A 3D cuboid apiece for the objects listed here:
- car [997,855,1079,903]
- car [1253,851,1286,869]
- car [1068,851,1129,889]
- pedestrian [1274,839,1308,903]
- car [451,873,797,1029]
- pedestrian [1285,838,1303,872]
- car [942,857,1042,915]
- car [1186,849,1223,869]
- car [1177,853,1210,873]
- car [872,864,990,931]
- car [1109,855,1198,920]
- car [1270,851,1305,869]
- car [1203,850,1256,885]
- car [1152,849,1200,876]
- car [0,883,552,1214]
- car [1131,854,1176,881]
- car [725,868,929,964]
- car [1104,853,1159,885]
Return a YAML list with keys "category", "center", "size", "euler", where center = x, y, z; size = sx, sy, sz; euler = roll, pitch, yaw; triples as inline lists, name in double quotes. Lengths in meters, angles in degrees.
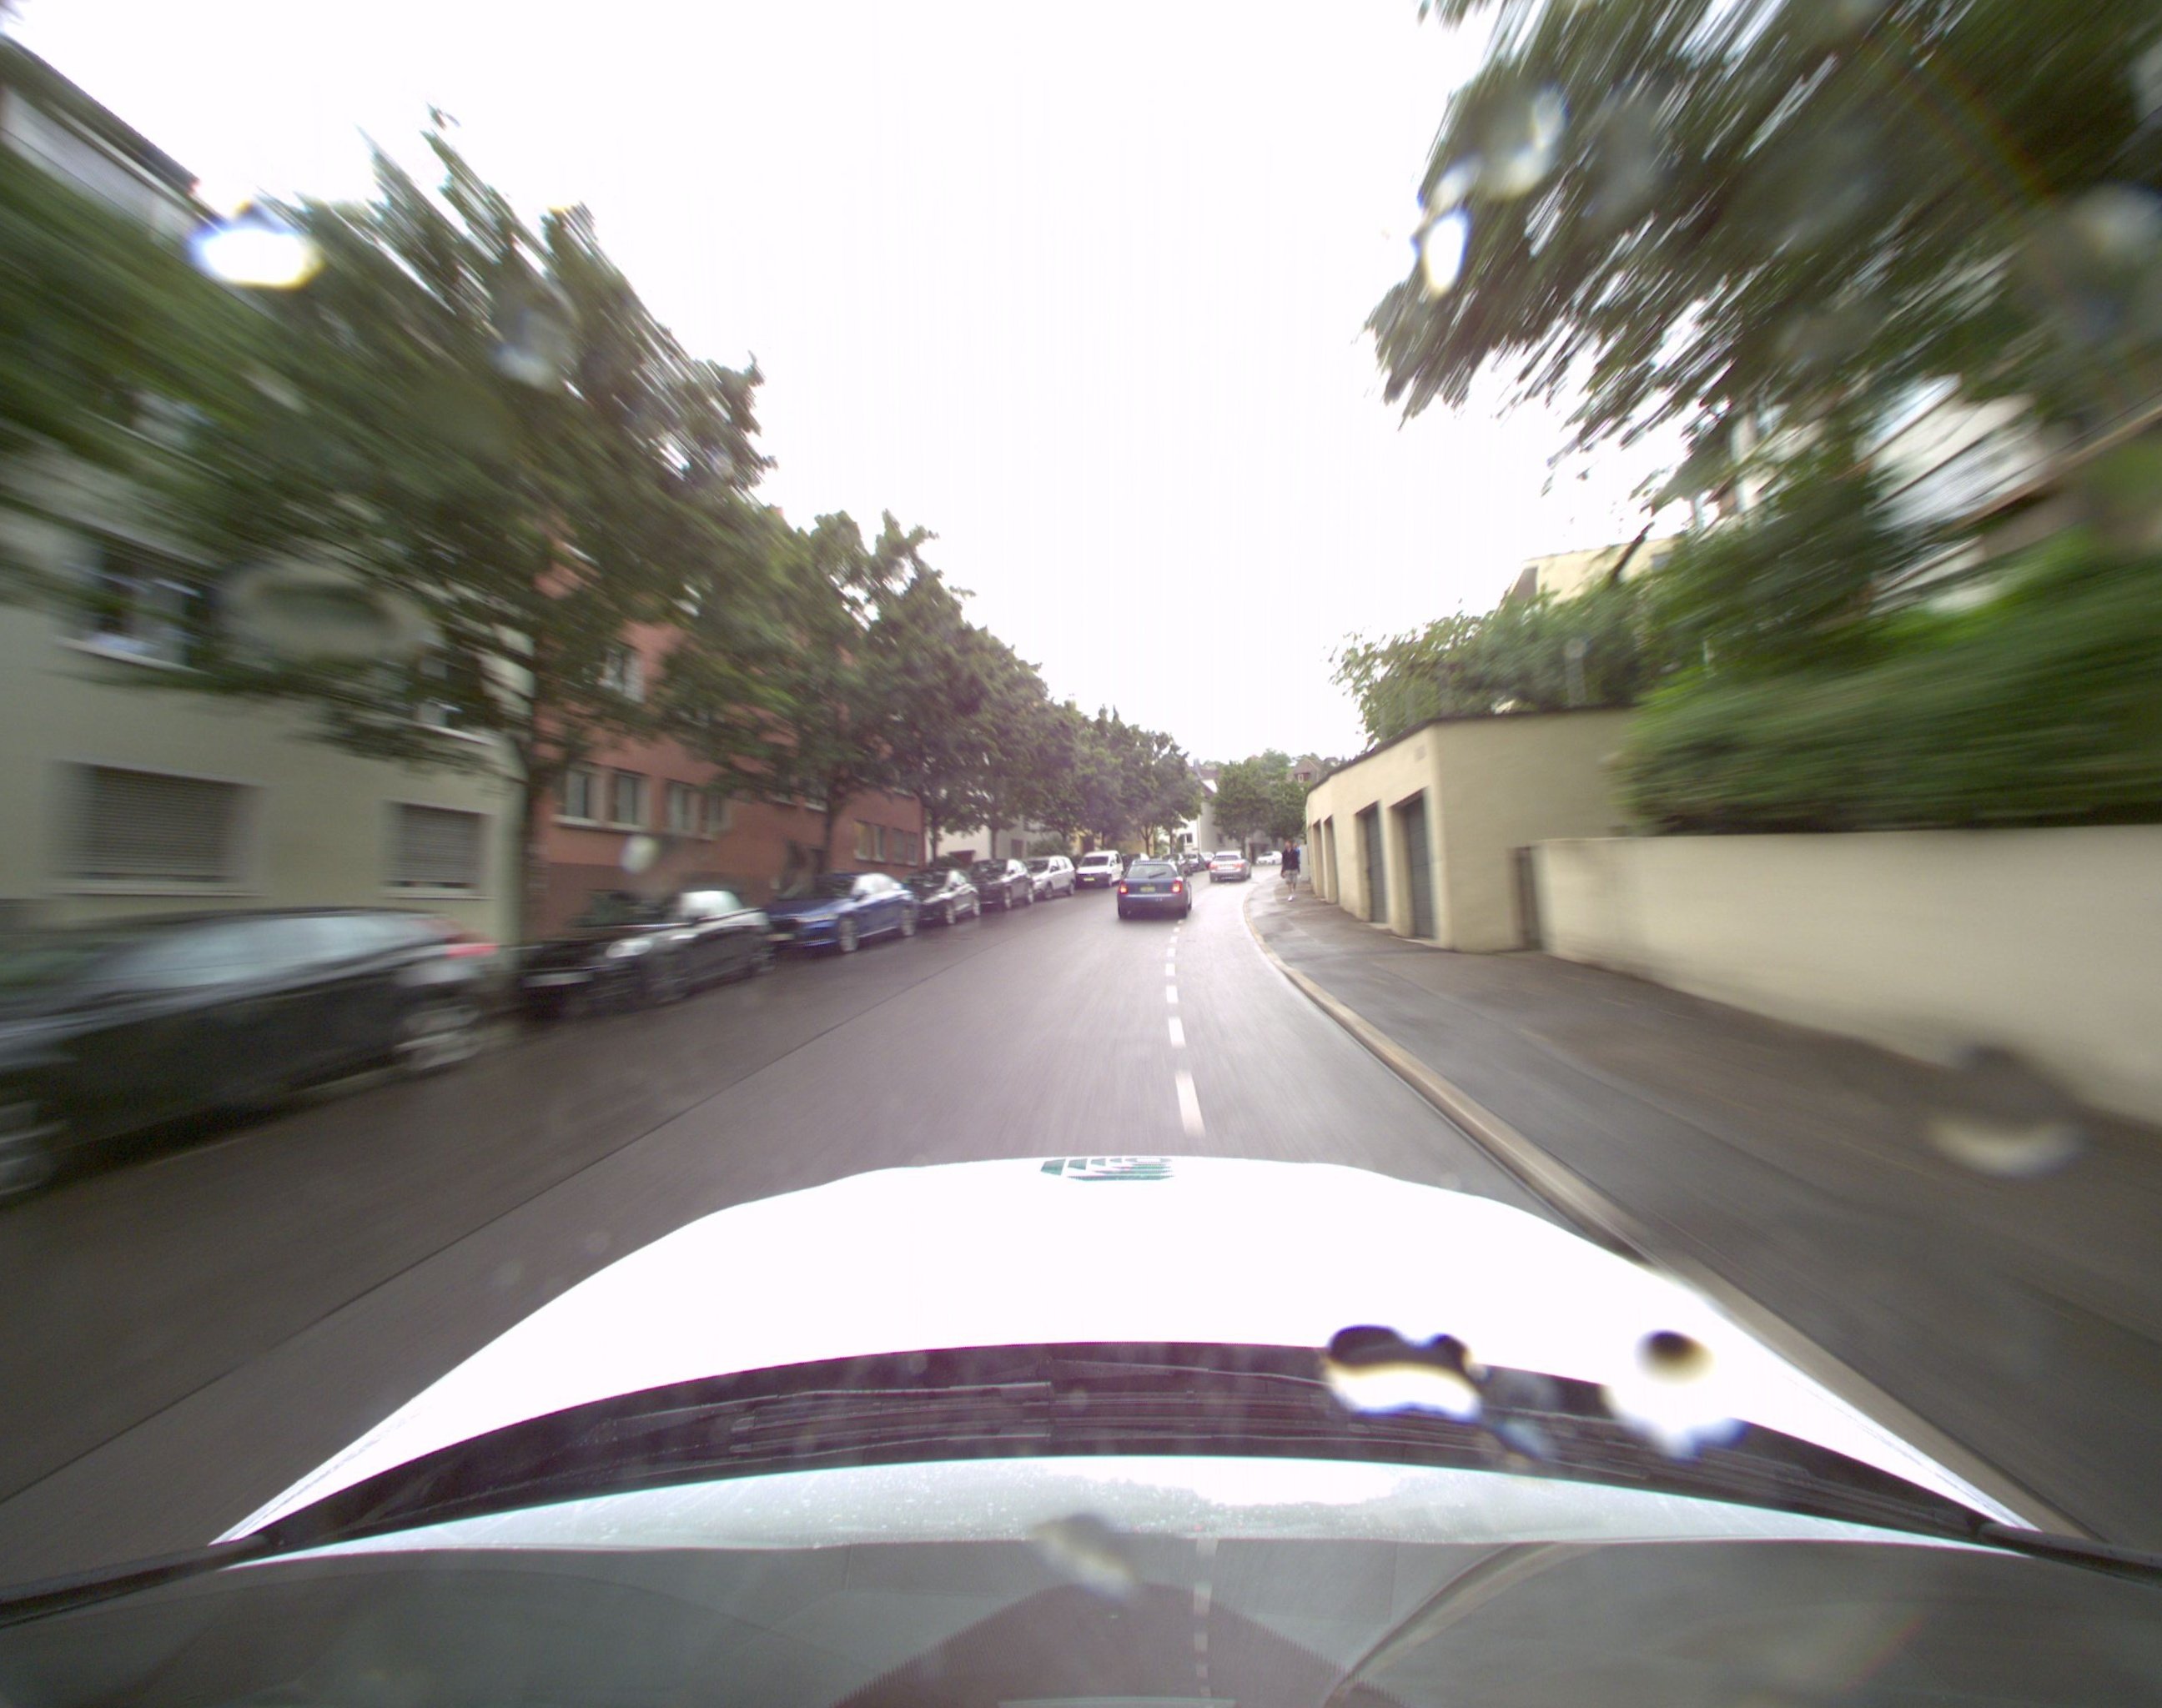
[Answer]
- category: "car"
  center: [-1.627, 0.958, 32.706]
  size: [1.733, 1.690, 4.621]
  euler: [-3, 0, 17]
- category: "car"
  center: [18.656, 0.639, 80.467]
  size: [1.767, 1.514, 4.372]
  euler: [-7, -5, 30]
- category: "car"
  center: [0.971, 0.775, 41.527]
  size: [1.839, 1.777, 4.503]
  euler: [-3, 0, 18]
- category: "pedestrian"
  center: [6.304, 0.503, 24.494]
  size: [0.893, 1.850, 0.805]
  euler: [-3, -1, 11]
- category: "car"
  center: [-5.605, 1.078, 10.780]
  size: [1.779, 1.493, 4.367]
  euler: [-3, 0, 5]
- category: "pedestrian"
  center: [11.519, 0.044, 44.083]
  size: [0.769, 1.758, 1.016]
  euler: [-4, -2, 17]
- category: "car"
  center: [-2.791, 0.977, 26.791]
  size: [1.774, 1.641, 4.497]
  euler: [-3, 0, 14]
- category: "car"
  center: [10.139, 0.413, 66.484]
  size: [1.759, 1.540, 4.542]
  euler: [-2, -1, 24]
- category: "car"
  center: [8.613, 0.654, 61.897]
  size: [1.600, 1.397, 4.344]
  euler: [-3, -1, 19]
- category: "car"
  center: [-3.877, 1.086, 21.894]
  size: [1.777, 1.493, 4.371]
  euler: [-3, 0, 8]
- category: "car"
  center: [2.027, 0.810, 21.478]
  size: [1.842, 1.414, 4.374]
  euler: [-4, -1, 10]
- category: "car"
  center: [21.611, 0.598, 85.169]
  size: [1.767, 1.646, 4.373]
  euler: [-8, -5, 39]
- category: "car"
  center: [7.598, 0.651, 41.268]
  size: [1.934, 1.561, 4.285]
  euler: [-1, 1, 20]
- category: "car"
  center: [6.689, 0.574, 57.076]
  size: [1.837, 1.690, 4.582]
  euler: [-3, -1, 26]
- category: "car"
  center: [-6.007, 1.027, 5.288]
  size: [1.778, 1.493, 4.651]
  euler: [-2, -1, 5]
- category: "car"
  center: [4.651, 0.837, 51.596]
  size: [1.839, 1.498, 4.761]
  euler: [-2, 0, 16]
- category: "car"
  center: [-4.781, 1.099, 16.253]
  size: [1.776, 1.493, 4.875]
  euler: [-3, 0, 10]
- category: "car"
  center: [2.956, 0.822, 46.664]
  size: [1.838, 1.668, 4.611]
  euler: [-3, -1, 20]
